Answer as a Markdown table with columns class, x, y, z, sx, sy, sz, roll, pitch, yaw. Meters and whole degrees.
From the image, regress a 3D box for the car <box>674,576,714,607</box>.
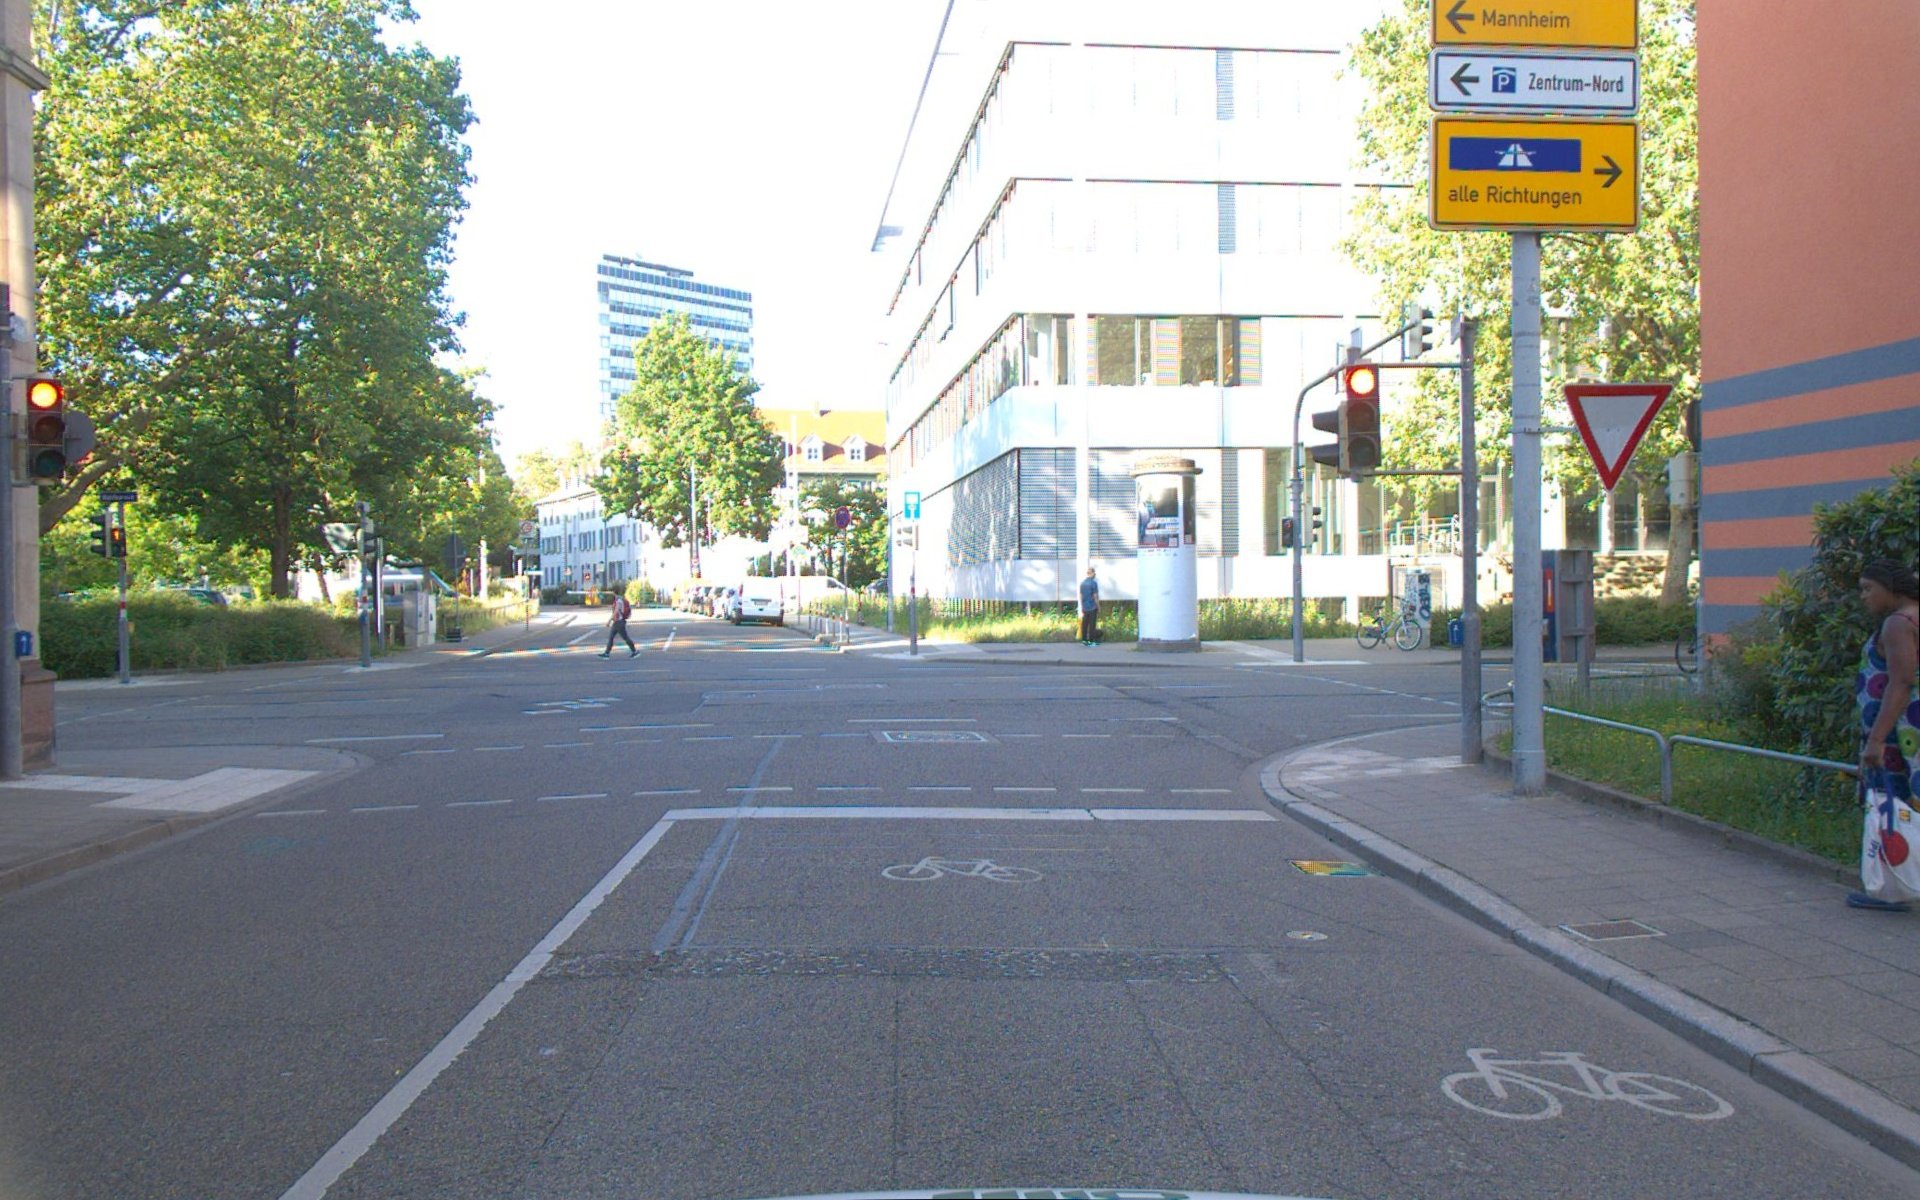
| class | x | y | z | sx | sy | sz | roll | pitch | yaw |
| --- | --- | --- | --- | --- | --- | --- | --- | --- | --- |
| car | -15.381 | -0.505 | 95.433 | 2.063 | 1.687 | 4.463 | -1 | 1 | -11 |

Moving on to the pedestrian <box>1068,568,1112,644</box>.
| class | x | y | z | sx | sy | sz | roll | pitch | yaw |
| --- | --- | --- | --- | --- | --- | --- | --- | --- | --- |
| pedestrian | 3.058 | 0.130 | 38.869 | 0.798 | 1.766 | 0.650 | -1 | 0 | 45 |

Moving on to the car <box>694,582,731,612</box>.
| class | x | y | z | sx | sy | sz | roll | pitch | yaw |
| --- | --- | --- | --- | --- | --- | --- | --- | --- | --- |
| car | -12.851 | -0.187 | 85.649 | 1.674 | 1.490 | 4.226 | -1 | 1 | -11 |

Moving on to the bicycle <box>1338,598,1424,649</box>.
| class | x | y | z | sx | sy | sz | roll | pitch | yaw |
| --- | --- | --- | --- | --- | --- | --- | --- | --- | --- |
| bicycle | 9.224 | 0.506 | 36.256 | 0.460 | 1.067 | 1.886 | -1 | 1 | -42 |

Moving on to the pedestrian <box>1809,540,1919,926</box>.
| class | x | y | z | sx | sy | sz | roll | pitch | yaw |
| --- | --- | --- | --- | --- | --- | --- | --- | --- | --- |
| pedestrian | 4.267 | 0.541 | 7.280 | 0.735 | 1.600 | 0.954 | -4 | 0 | 35 |

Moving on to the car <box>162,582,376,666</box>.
| class | x | y | z | sx | sy | sz | roll | pitch | yaw |
| --- | --- | --- | --- | --- | --- | --- | --- | --- | --- |
| car | -15.763 | 0.513 | 37.912 | 4.146 | 1.808 | 1.901 | -1 | 0 | -9 |

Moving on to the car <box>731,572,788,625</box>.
| class | x | y | z | sx | sy | sz | roll | pitch | yaw |
| --- | --- | --- | --- | --- | --- | --- | --- | --- | --- |
| car | -7.862 | -0.081 | 64.529 | 2.029 | 1.997 | 4.229 | -1 | 1 | -9 |

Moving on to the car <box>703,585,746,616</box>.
| class | x | y | z | sx | sy | sz | roll | pitch | yaw |
| --- | --- | --- | --- | --- | --- | --- | --- | --- | --- |
| car | -11.560 | -0.012 | 81.149 | 1.675 | 1.449 | 4.223 | -1 | 1 | -14 |

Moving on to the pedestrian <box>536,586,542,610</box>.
| class | x | y | z | sx | sy | sz | roll | pitch | yaw |
| --- | --- | --- | --- | --- | --- | --- | --- | --- | --- |
| pedestrian | -27.169 | -0.148 | 106.684 | 0.373 | 1.561 | 0.444 | -1 | 0 | -13 |

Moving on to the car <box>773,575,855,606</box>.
| class | x | y | z | sx | sy | sz | roll | pitch | yaw |
| --- | --- | --- | --- | --- | --- | --- | --- | --- | --- |
| car | -9.090 | -0.579 | 102.710 | 4.804 | 1.905 | 1.990 | 0 | 0 | -17 |

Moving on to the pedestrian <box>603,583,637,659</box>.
| class | x | y | z | sx | sy | sz | roll | pitch | yaw |
| --- | --- | --- | --- | --- | --- | --- | --- | --- | --- |
| pedestrian | -7.460 | 0.454 | 36.313 | 0.699 | 1.627 | 0.615 | -1 | 0 | -11 |

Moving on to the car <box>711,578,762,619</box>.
| class | x | y | z | sx | sy | sz | roll | pitch | yaw |
| --- | --- | --- | --- | --- | --- | --- | --- | --- | --- |
| car | -10.352 | -0.100 | 76.407 | 1.913 | 1.826 | 4.224 | -1 | 1 | -13 |
